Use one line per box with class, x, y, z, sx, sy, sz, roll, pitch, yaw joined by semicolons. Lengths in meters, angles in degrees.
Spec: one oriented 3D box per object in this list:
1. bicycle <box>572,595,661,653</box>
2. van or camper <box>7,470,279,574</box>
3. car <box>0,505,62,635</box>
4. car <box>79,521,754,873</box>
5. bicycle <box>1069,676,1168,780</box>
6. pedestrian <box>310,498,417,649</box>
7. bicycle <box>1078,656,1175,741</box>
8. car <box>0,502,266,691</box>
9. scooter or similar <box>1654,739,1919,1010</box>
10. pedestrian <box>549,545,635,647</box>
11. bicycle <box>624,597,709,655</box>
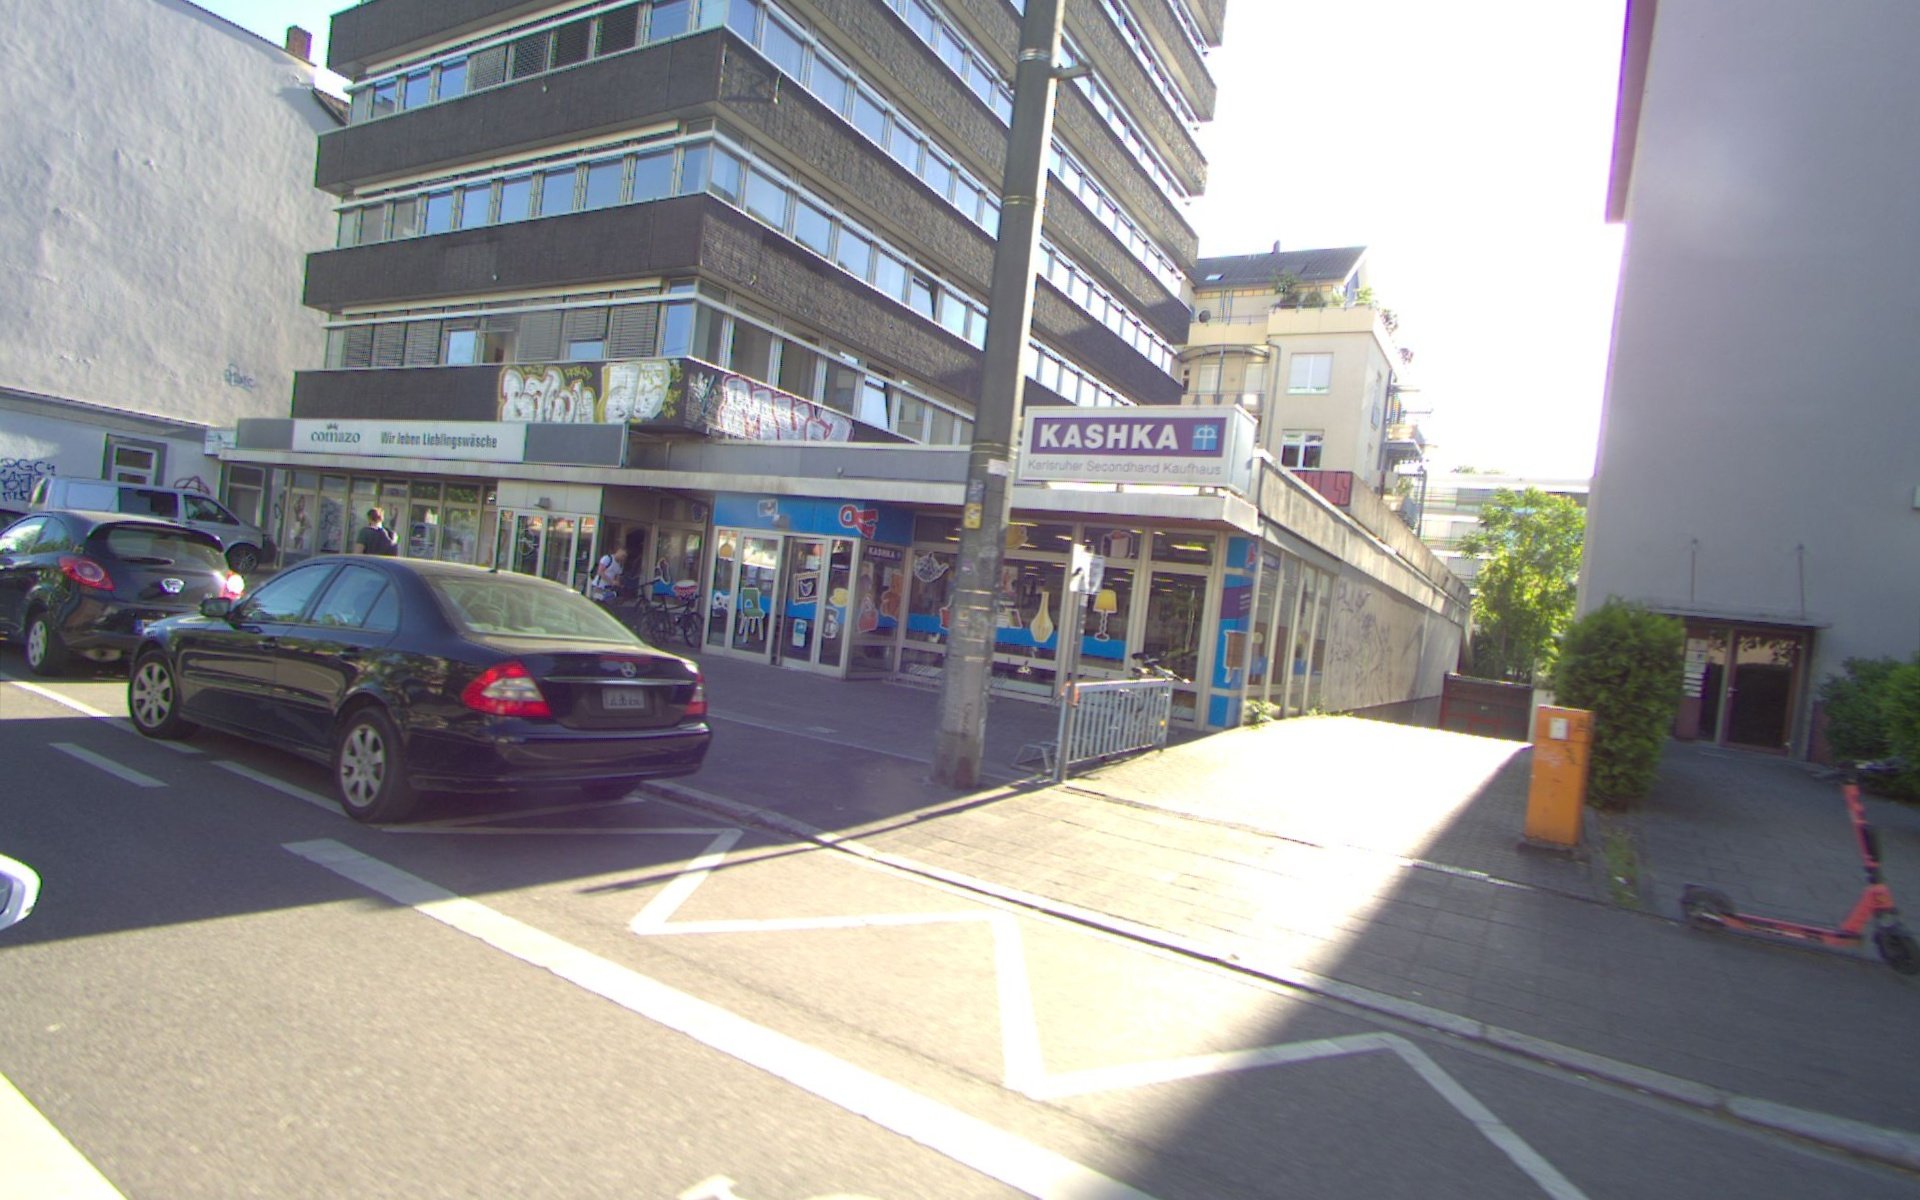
bicycle;-5.967;0.411;17.543;0.334;0.934;1.571;7;3;30
van or camper;-19.506;-1.805;24.237;1.968;1.959;4.689;8;3;35
car;-13.415;-0.610;12.810;4.156;1.500;1.702;7;-2;31
car;-3.889;0.456;6.886;4.847;1.500;1.732;6;-2;31
bicycle;1.753;1.345;10.895;0.399;0.934;1.811;7;1;28
pedestrian;-8.234;-0.367;13.889;1.046;1.934;0.685;6;-1;34
bicycle;2.256;1.279;13.461;0.563;0.978;1.802;6;2;31
car;-8.825;-0.107;10.155;3.498;1.500;1.574;7;-2;31
scooter or similar;5.018;1.582;6.005;1.292;1.226;0.580;7;4;33
pedestrian;-6.437;-0.080;17.618;0.901;1.671;1.009;6;4;32
bicycle;-5.143;0.467;17.704;0.334;0.933;1.572;7;0;30
